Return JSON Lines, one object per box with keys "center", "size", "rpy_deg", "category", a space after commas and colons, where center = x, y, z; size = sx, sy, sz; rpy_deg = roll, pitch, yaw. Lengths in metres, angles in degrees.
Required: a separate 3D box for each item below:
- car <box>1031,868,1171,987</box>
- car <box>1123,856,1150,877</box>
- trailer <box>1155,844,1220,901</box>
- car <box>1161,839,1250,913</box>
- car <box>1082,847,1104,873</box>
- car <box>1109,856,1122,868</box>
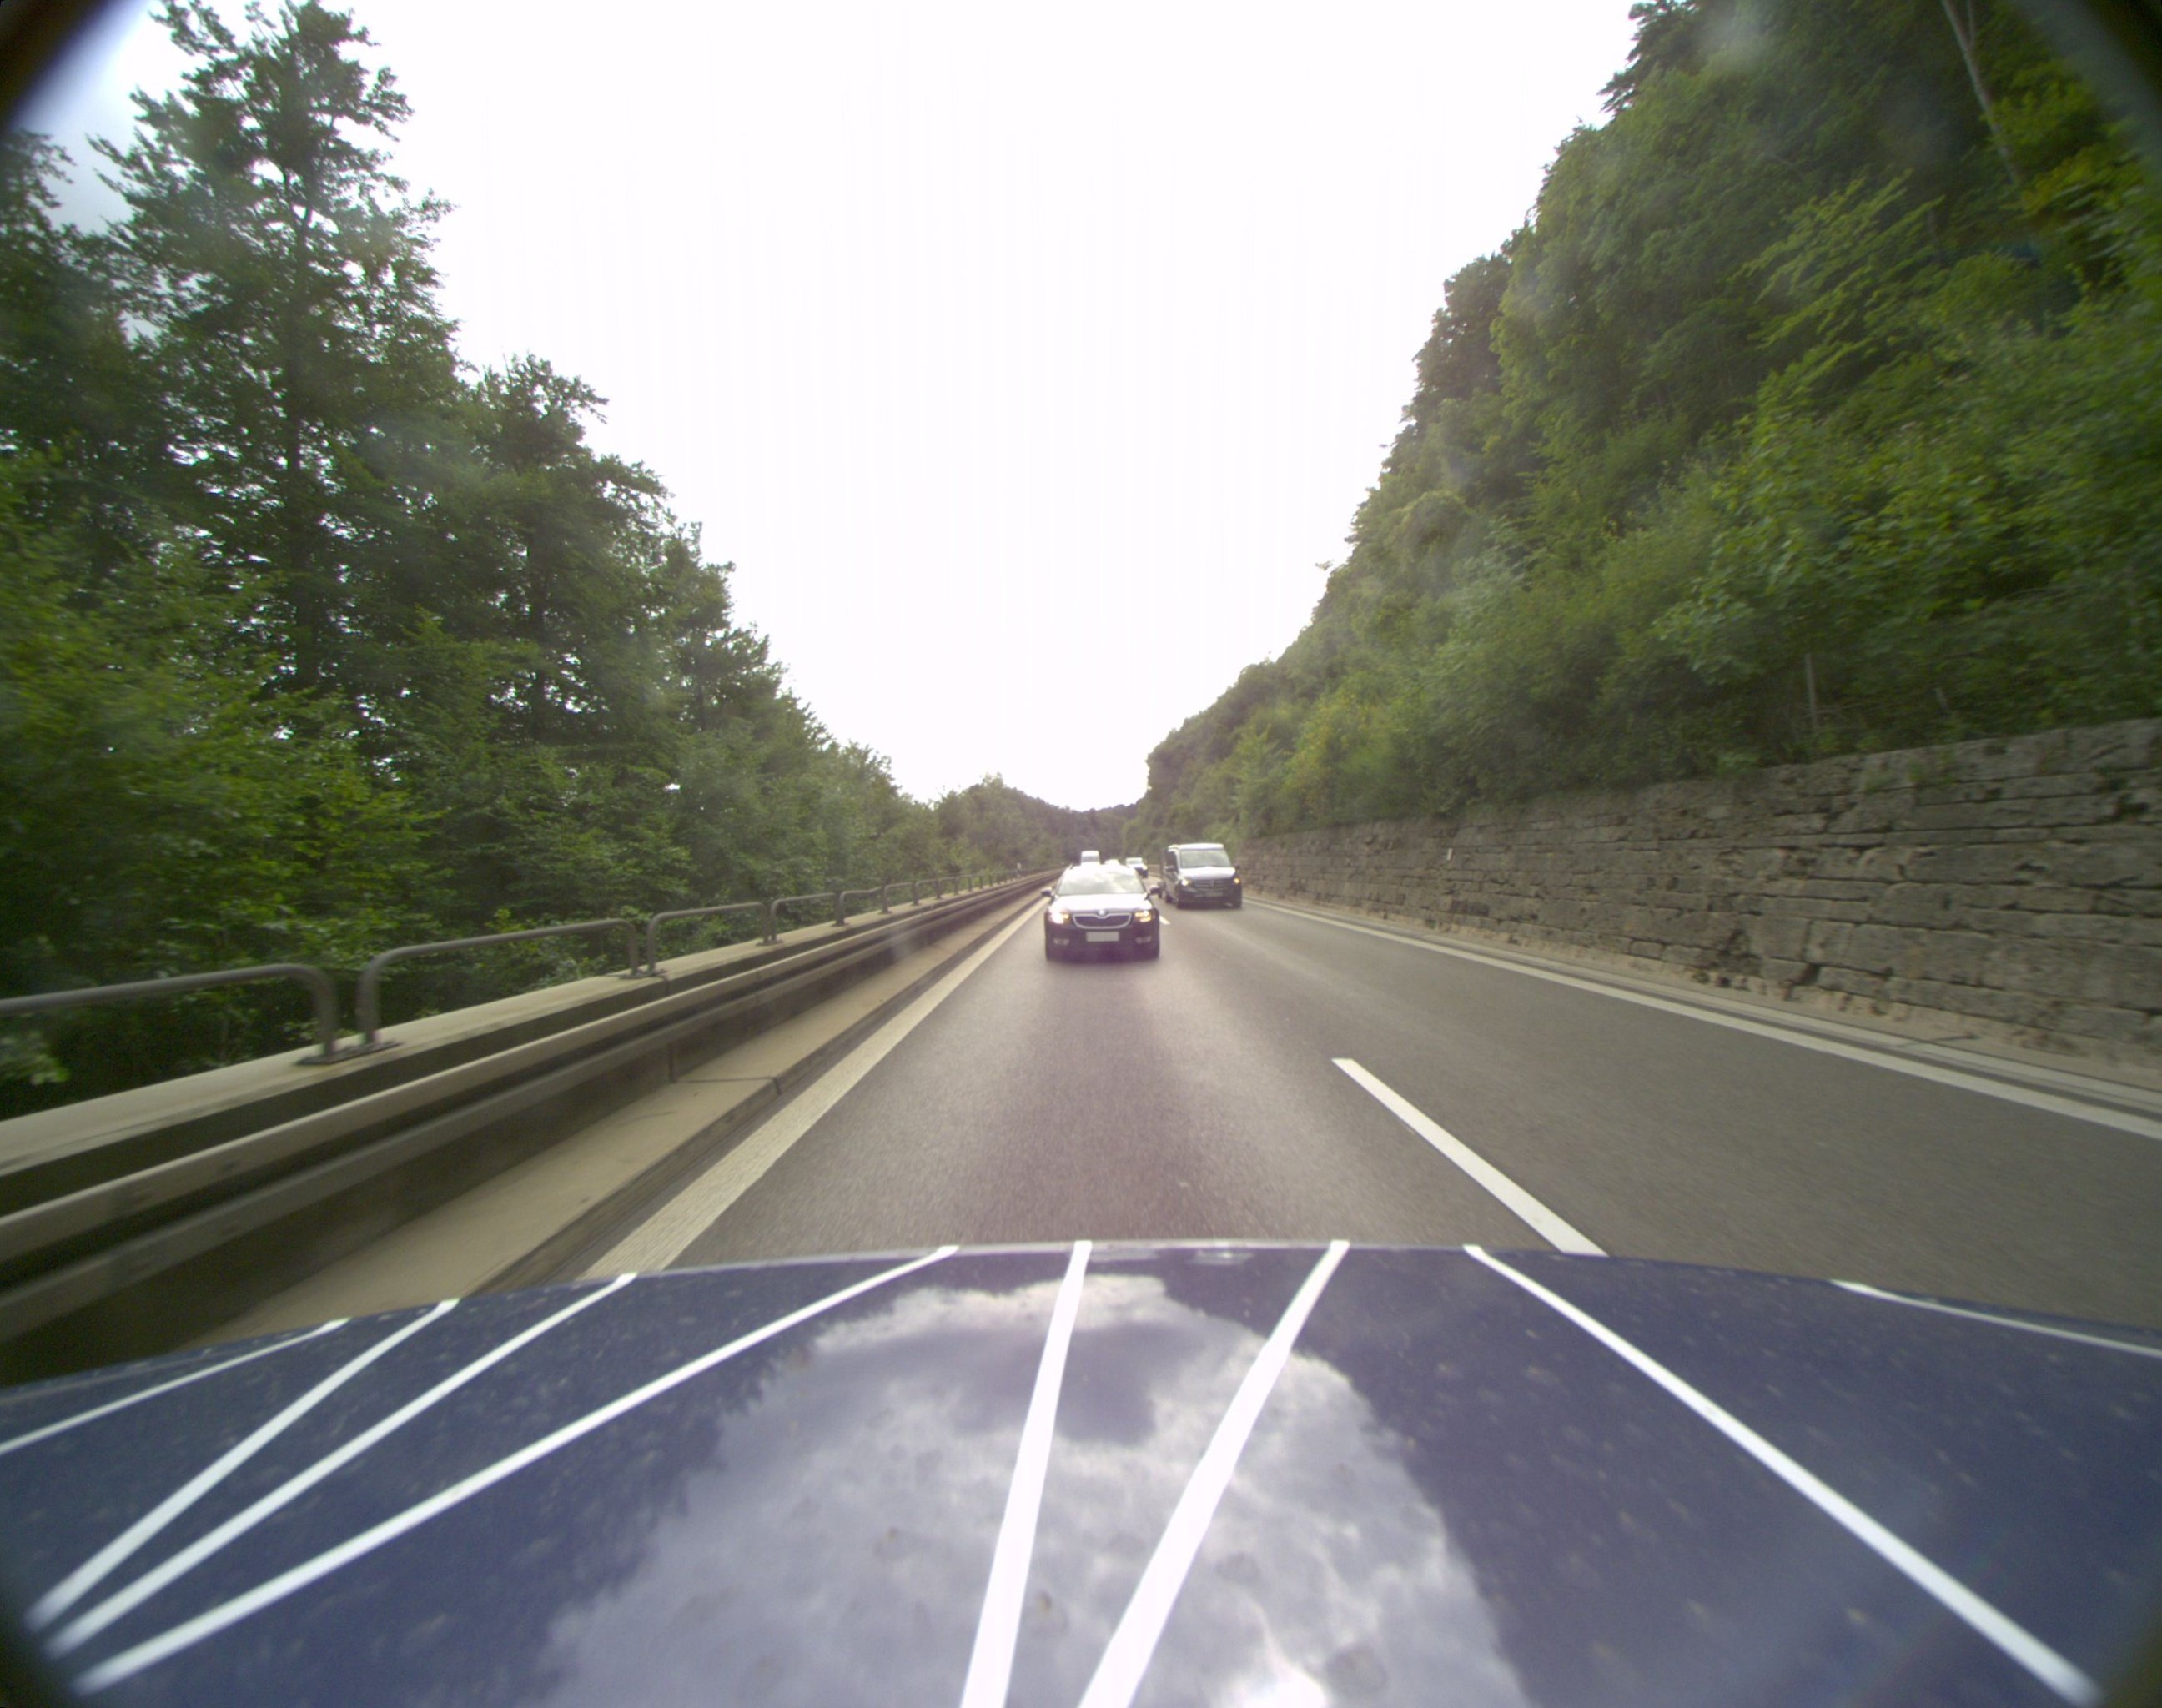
{"center": [0.279, 0.948, 11.435], "size": [1.638, 1.384, 4.500], "rpy_deg": [-2, -2, 1], "category": "car"}
{"center": [4.488, 0.953, 62.250], "size": [1.976, 1.583, 5.586], "rpy_deg": [-2, 0, 2], "category": "car"}
{"center": [3.947, 0.680, 28.695], "size": [1.976, 1.928, 3.431], "rpy_deg": [-3, 0, 2], "category": "trailer"}
{"center": [3.811, 0.650, 24.225], "size": [1.998, 2.002, 5.541], "rpy_deg": [-3, 0, 2], "category": "car"}
{"center": [1.234, 0.642, 77.604], "size": [2.099, 2.547, 5.921], "rpy_deg": [1, -1, 2], "category": "car"}
{"center": [4.964, 1.163, 109.846], "size": [1.823, 1.546, 4.002], "rpy_deg": [1, -1, 2], "category": "car"}
